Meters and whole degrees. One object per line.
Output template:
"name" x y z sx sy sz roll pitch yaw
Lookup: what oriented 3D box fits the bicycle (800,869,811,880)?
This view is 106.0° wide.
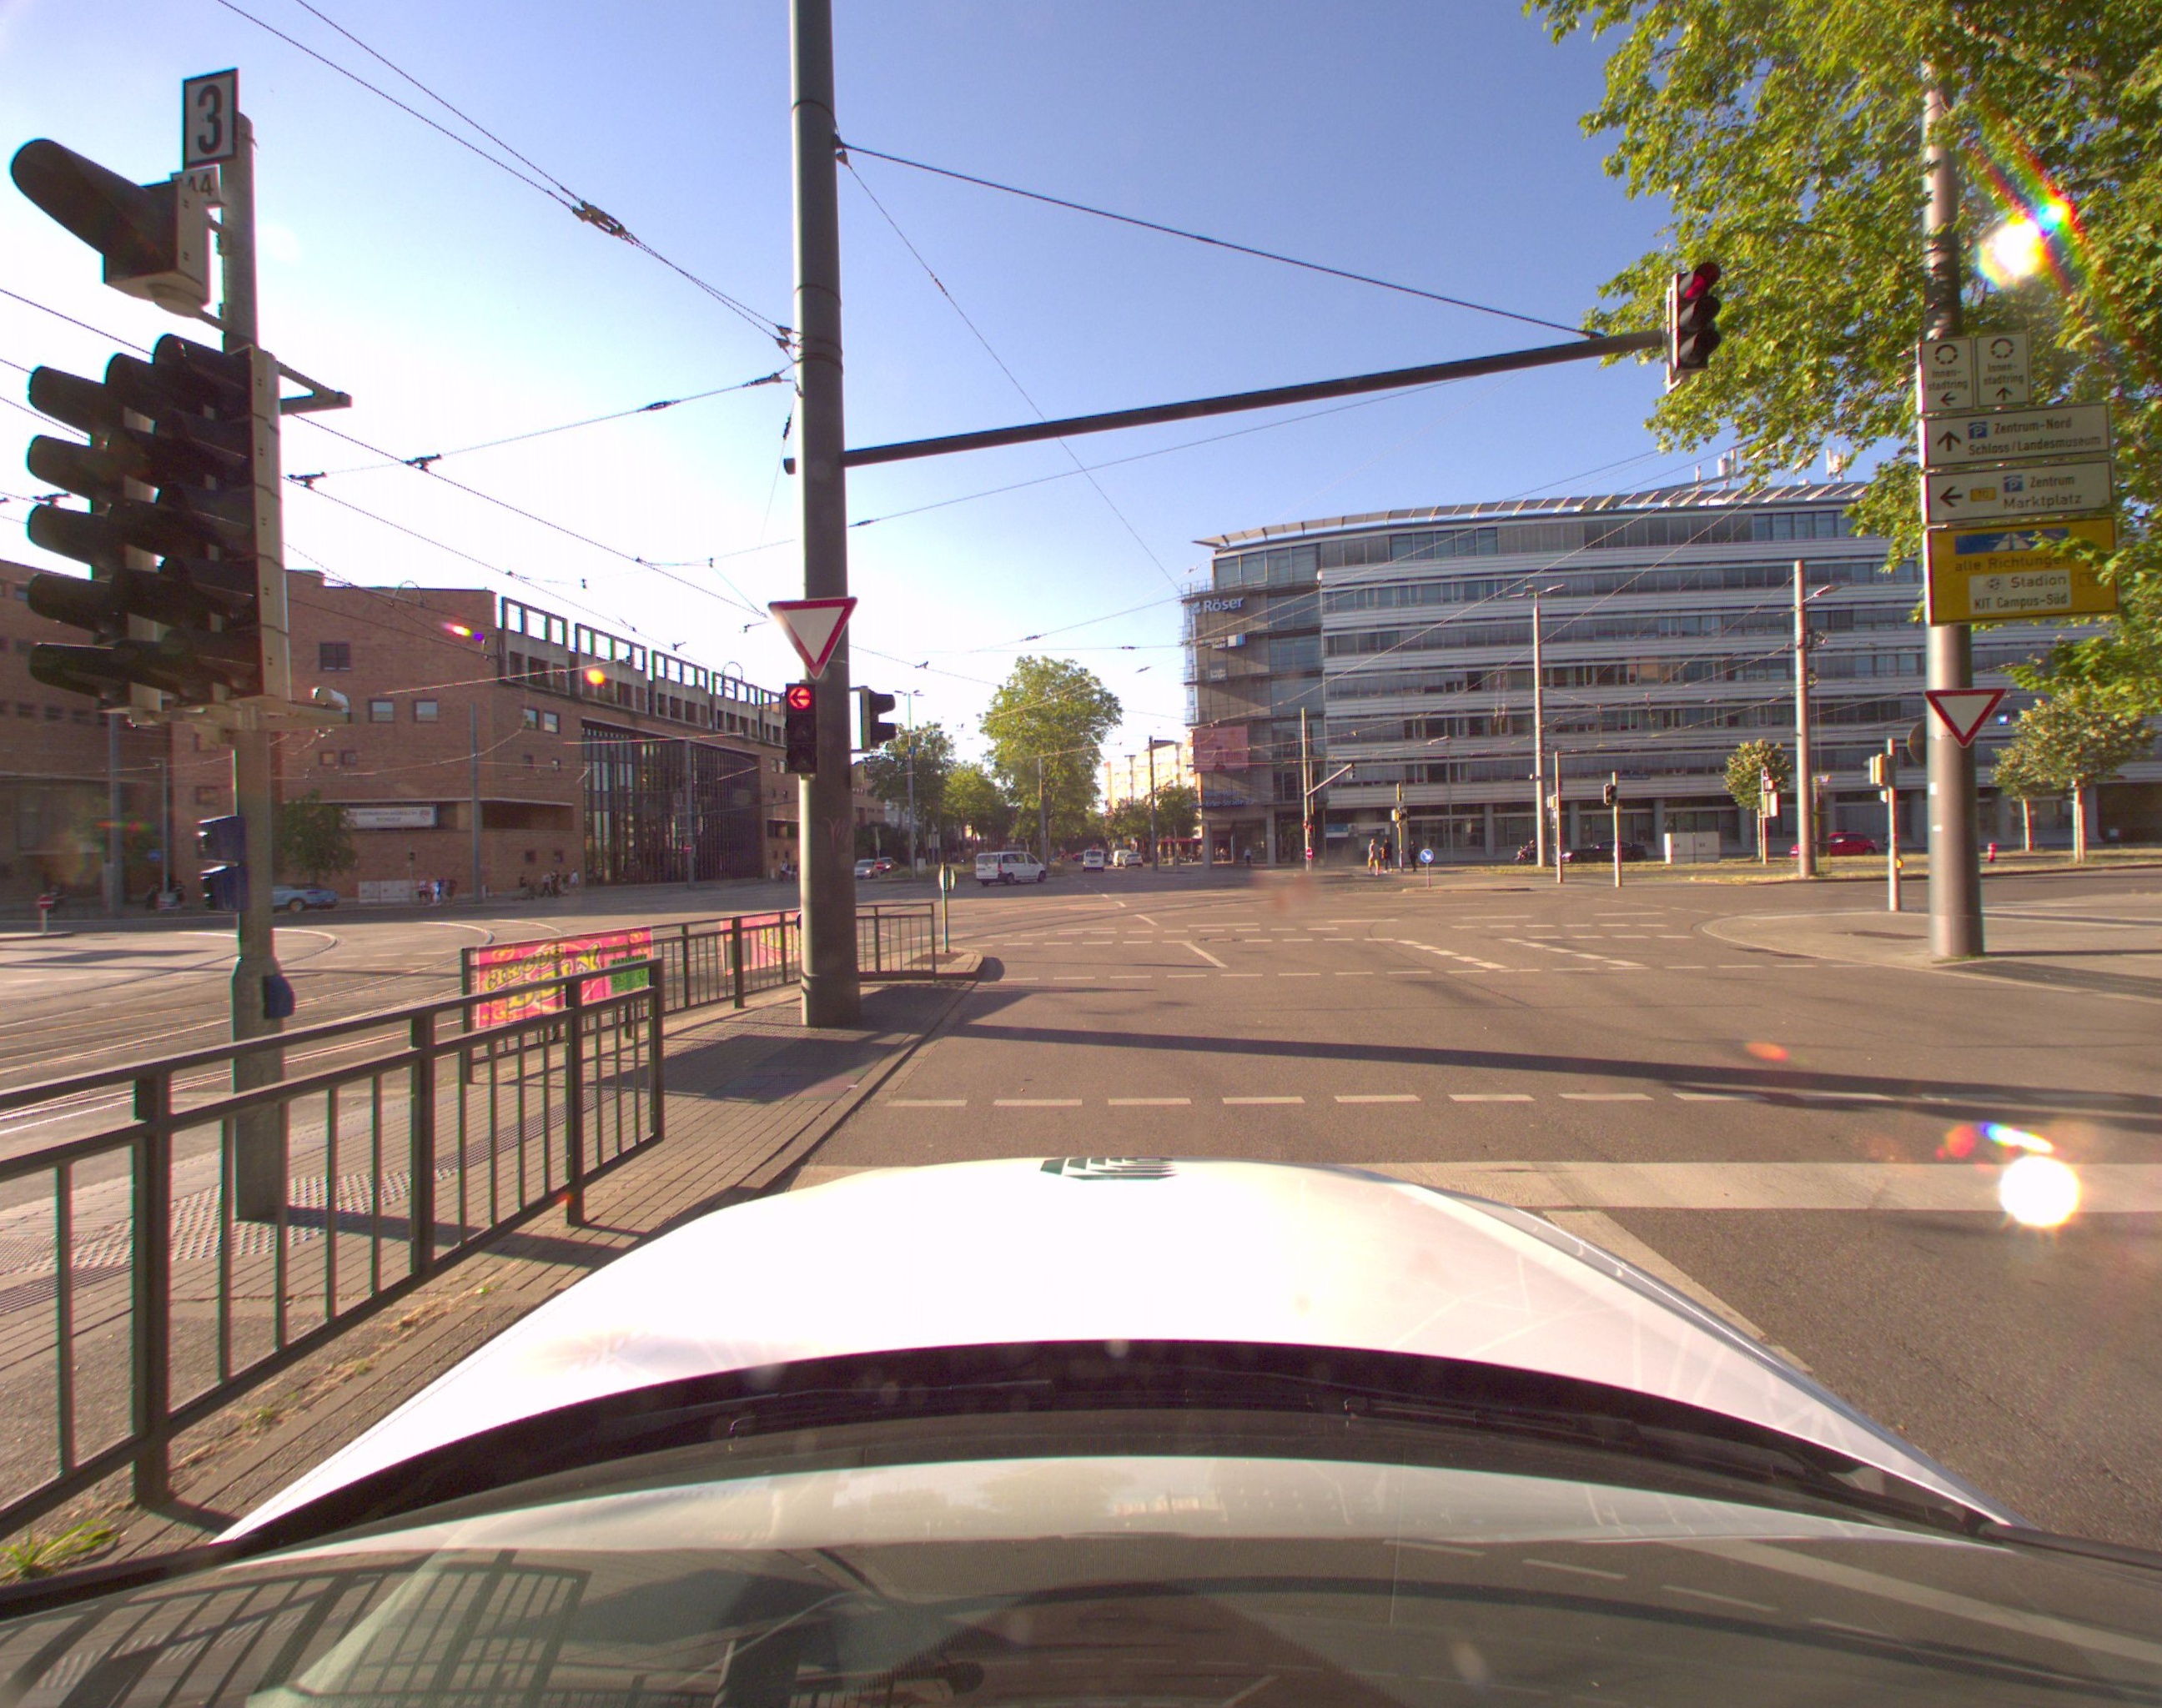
"bicycle" -24.388 1.831 72.127 0.449 0.963 1.348 -2 0 2

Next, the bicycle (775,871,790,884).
"bicycle" -24.309 1.900 66.352 0.540 0.963 1.587 -2 0 2

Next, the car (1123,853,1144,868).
"car" 5.290 0.618 82.832 1.986 1.376 4.002 -2 0 2

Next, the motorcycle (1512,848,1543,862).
"motorcycle" 26.794 0.049 48.917 1.560 0.810 0.468 -2 0 6

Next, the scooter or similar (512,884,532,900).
"scooter or similar" -33.729 2.280 49.161 0.956 0.899 0.173 -2 0 -45

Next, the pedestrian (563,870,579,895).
"pedestrian" -33.737 1.858 53.895 0.605 1.625 0.622 -2 0 24

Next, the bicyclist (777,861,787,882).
"bicyclist" -24.338 1.411 66.381 0.534 1.731 0.581 -2 0 1

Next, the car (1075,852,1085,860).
"car" -0.246 0.437 157.005 1.791 1.442 4.002 -2 0 2

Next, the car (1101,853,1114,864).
"car" 4.094 0.653 126.787 1.986 1.618 4.002 -2 0 2

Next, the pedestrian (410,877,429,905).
"pedestrian" -38.462 2.141 47.356 0.594 1.614 0.589 -2 0 1

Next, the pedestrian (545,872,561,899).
"pedestrian" -33.163 1.973 51.153 0.585 1.683 0.554 -2 0 27

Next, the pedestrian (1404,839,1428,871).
"pedestrian" 17.275 0.044 42.027 0.943 1.564 0.899 -2 0 9

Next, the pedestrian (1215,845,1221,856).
"pedestrian" 22.281 -0.520 132.331 0.741 1.714 0.612 -2 0 1

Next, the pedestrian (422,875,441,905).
"pedestrian" -37.555 2.083 47.113 0.597 1.648 0.549 -2 0 1

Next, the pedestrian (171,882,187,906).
"pedestrian" -55.301 2.471 49.912 0.549 1.427 0.563 -2 0 33

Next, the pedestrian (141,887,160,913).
"pedestrian" -54.741 2.697 47.907 0.508 1.463 0.466 -2 0 -6

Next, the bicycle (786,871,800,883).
"bicycle" -23.439 1.871 66.341 0.471 0.963 1.576 -2 0 2

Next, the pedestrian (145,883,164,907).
"pedestrian" -56.173 2.490 49.378 0.584 1.463 0.536 -2 0 22

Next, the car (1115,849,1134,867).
"car" 4.744 0.447 89.649 1.986 1.860 4.002 -2 0 2

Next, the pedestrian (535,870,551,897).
"pedestrian" -34.170 1.881 51.732 0.642 1.683 0.626 -2 0 36

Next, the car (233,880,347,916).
"car" -40.474 2.214 41.739 3.702 1.575 2.000 -2 0 -5

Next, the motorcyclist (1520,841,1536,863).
"motorcyclist" 26.843 -0.135 48.894 0.708 1.275 0.460 -2 0 5

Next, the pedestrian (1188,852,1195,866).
"pedestrian" 14.199 0.609 104.847 0.741 1.714 0.612 -2 0 1

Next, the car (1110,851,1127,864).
"car" 4.821 0.474 105.305 1.986 1.618 4.002 -2 0 2

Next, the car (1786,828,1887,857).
"car" 43.707 -0.646 47.198 3.966 1.393 1.789 -4 0 7

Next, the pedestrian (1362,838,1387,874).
"pedestrian" 14.846 0.104 41.178 0.861 1.788 0.871 -2 0 -2

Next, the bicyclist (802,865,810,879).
"bicyclist" -24.394 1.608 72.246 0.503 1.179 0.581 -2 0 1

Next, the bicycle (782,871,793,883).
"bicycle" -24.991 1.995 69.364 0.466 0.963 1.320 -2 0 2

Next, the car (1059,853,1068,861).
"car" -4.521 0.695 206.035 1.986 2.013 4.001 -2 0 1

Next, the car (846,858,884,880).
"car" -18.006 1.218 67.963 1.987 1.640 4.001 -2 0 1

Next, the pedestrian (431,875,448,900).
"pedestrian" -37.983 1.967 48.228 0.568 1.453 0.612 -2 0 -13

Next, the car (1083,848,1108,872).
"car" 1.227 0.474 67.853 1.747 1.867 4.531 -2 0 5

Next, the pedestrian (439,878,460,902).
"pedestrian" -36.538 2.075 47.104 0.597 1.339 0.684 -2 0 17

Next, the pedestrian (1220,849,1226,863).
"pedestrian" 14.740 0.215 84.515 0.608 1.507 0.580 -2 0 9

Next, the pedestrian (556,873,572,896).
"pedestrian" -33.501 1.975 52.745 0.634 1.421 0.603 -2 0 26

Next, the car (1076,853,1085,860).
"car" -0.088 0.468 168.495 1.791 1.442 4.002 -2 0 2

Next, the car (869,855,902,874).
"car" -18.116 0.962 75.538 1.987 1.640 4.001 -2 0 1

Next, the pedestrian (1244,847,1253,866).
"pedestrian" 13.213 0.216 64.297 0.608 1.507 0.580 -2 0 9

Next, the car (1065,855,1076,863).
"car" -1.884 0.975 147.305 1.792 1.442 3.999 0 -1 0

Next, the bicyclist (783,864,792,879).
"bicyclist" -25.016 1.500 69.409 0.503 1.304 0.581 -2 0 1

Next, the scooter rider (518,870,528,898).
"scooter rider" -33.715 1.808 49.199 0.441 1.647 0.226 -2 0 -44

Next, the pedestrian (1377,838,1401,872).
"pedestrian" 15.990 0.047 42.304 0.907 1.685 1.038 -2 0 9

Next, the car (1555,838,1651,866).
"car" 29.289 -0.124 45.790 4.136 1.398 1.789 -2 0 7

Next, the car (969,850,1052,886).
"car" -3.967 0.748 46.762 1.942 1.848 5.364 -2 0 30

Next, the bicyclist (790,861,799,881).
"bicyclist" -23.373 1.421 66.533 0.456 1.603 0.581 -2 0 1
